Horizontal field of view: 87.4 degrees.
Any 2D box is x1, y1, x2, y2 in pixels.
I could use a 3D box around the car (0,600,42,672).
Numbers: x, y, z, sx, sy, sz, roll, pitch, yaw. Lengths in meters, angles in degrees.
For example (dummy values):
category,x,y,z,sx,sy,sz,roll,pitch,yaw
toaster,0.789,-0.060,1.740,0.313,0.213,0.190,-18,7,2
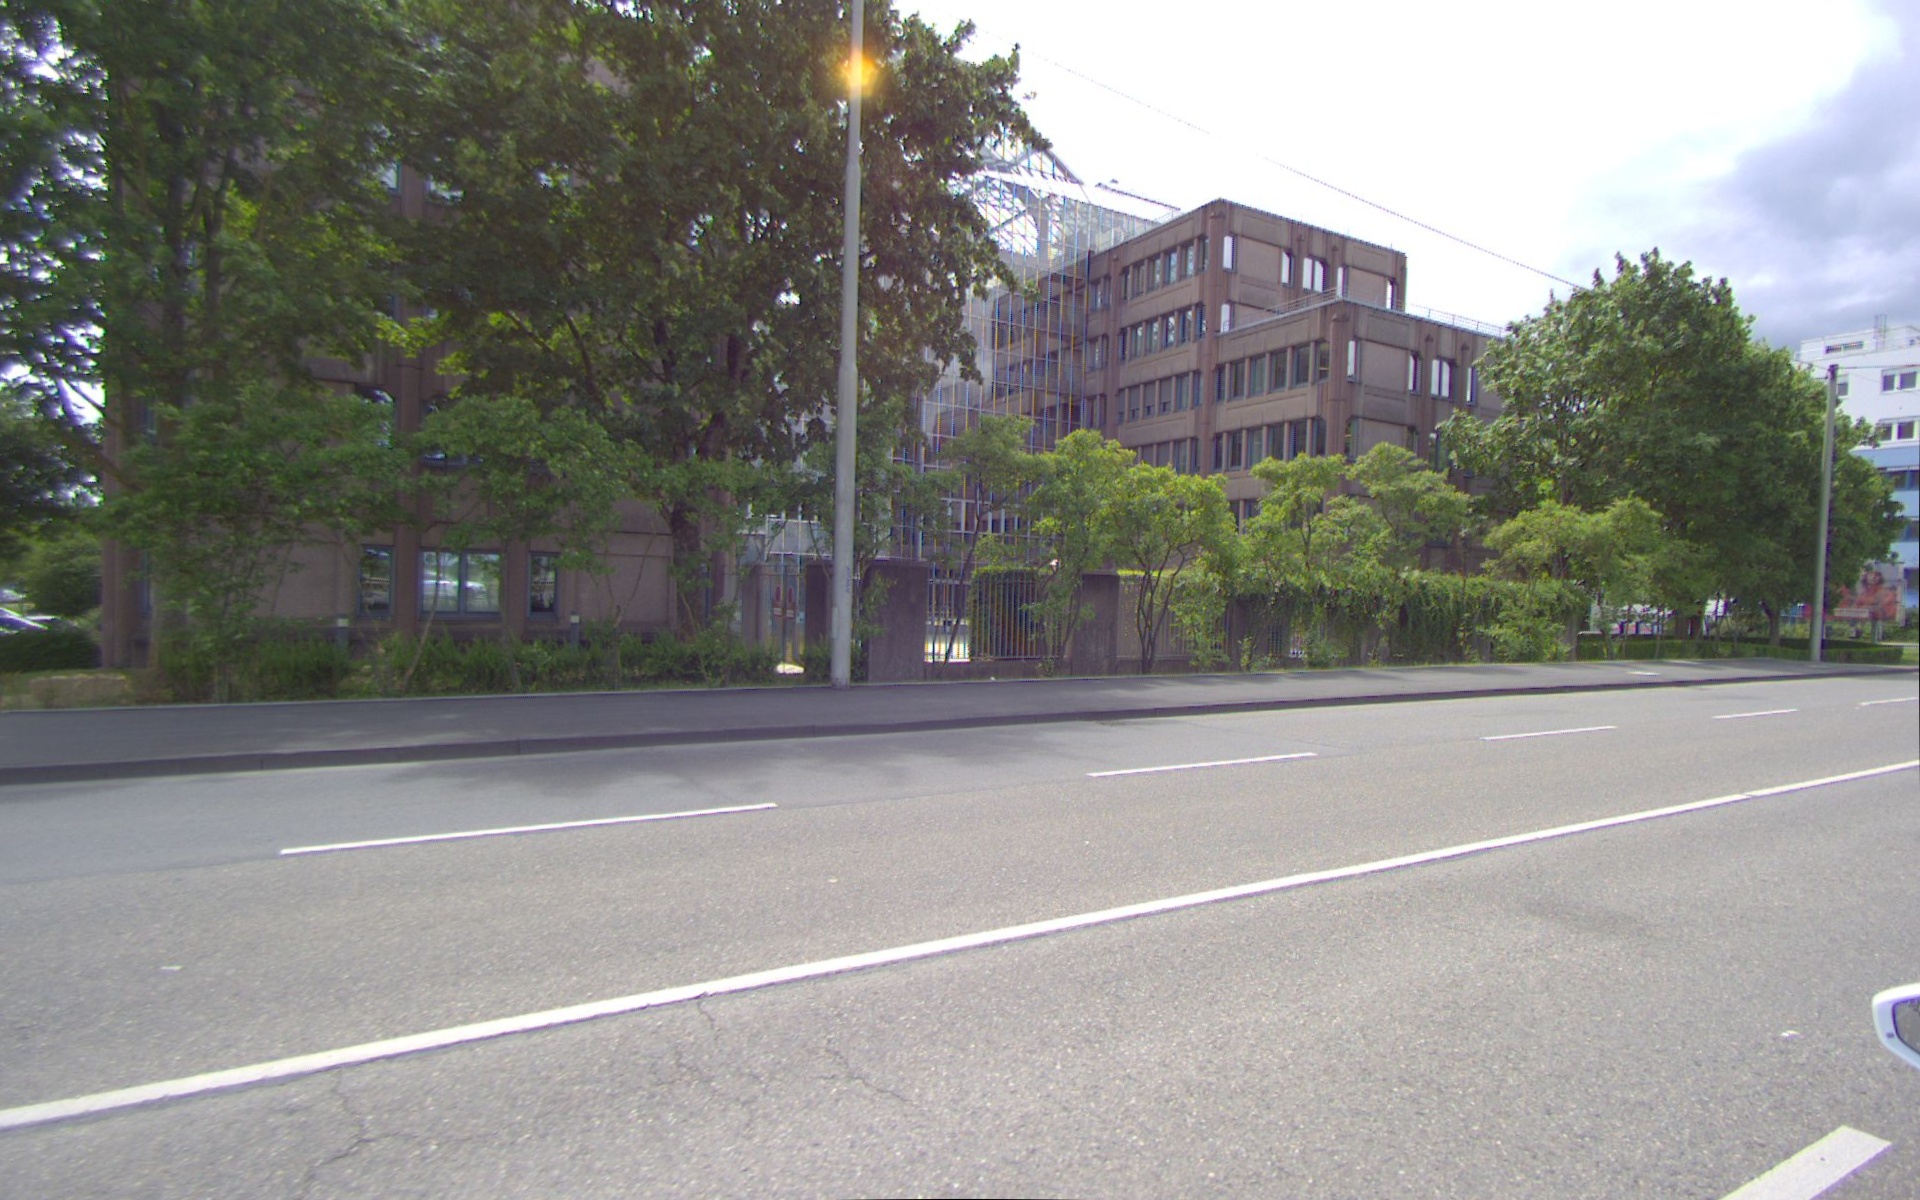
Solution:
category,x,y,z,sx,sy,sz,roll,pitch,yaw
car,-24.913,0.820,24.034,3.953,1.684,1.984,2,0,-30
